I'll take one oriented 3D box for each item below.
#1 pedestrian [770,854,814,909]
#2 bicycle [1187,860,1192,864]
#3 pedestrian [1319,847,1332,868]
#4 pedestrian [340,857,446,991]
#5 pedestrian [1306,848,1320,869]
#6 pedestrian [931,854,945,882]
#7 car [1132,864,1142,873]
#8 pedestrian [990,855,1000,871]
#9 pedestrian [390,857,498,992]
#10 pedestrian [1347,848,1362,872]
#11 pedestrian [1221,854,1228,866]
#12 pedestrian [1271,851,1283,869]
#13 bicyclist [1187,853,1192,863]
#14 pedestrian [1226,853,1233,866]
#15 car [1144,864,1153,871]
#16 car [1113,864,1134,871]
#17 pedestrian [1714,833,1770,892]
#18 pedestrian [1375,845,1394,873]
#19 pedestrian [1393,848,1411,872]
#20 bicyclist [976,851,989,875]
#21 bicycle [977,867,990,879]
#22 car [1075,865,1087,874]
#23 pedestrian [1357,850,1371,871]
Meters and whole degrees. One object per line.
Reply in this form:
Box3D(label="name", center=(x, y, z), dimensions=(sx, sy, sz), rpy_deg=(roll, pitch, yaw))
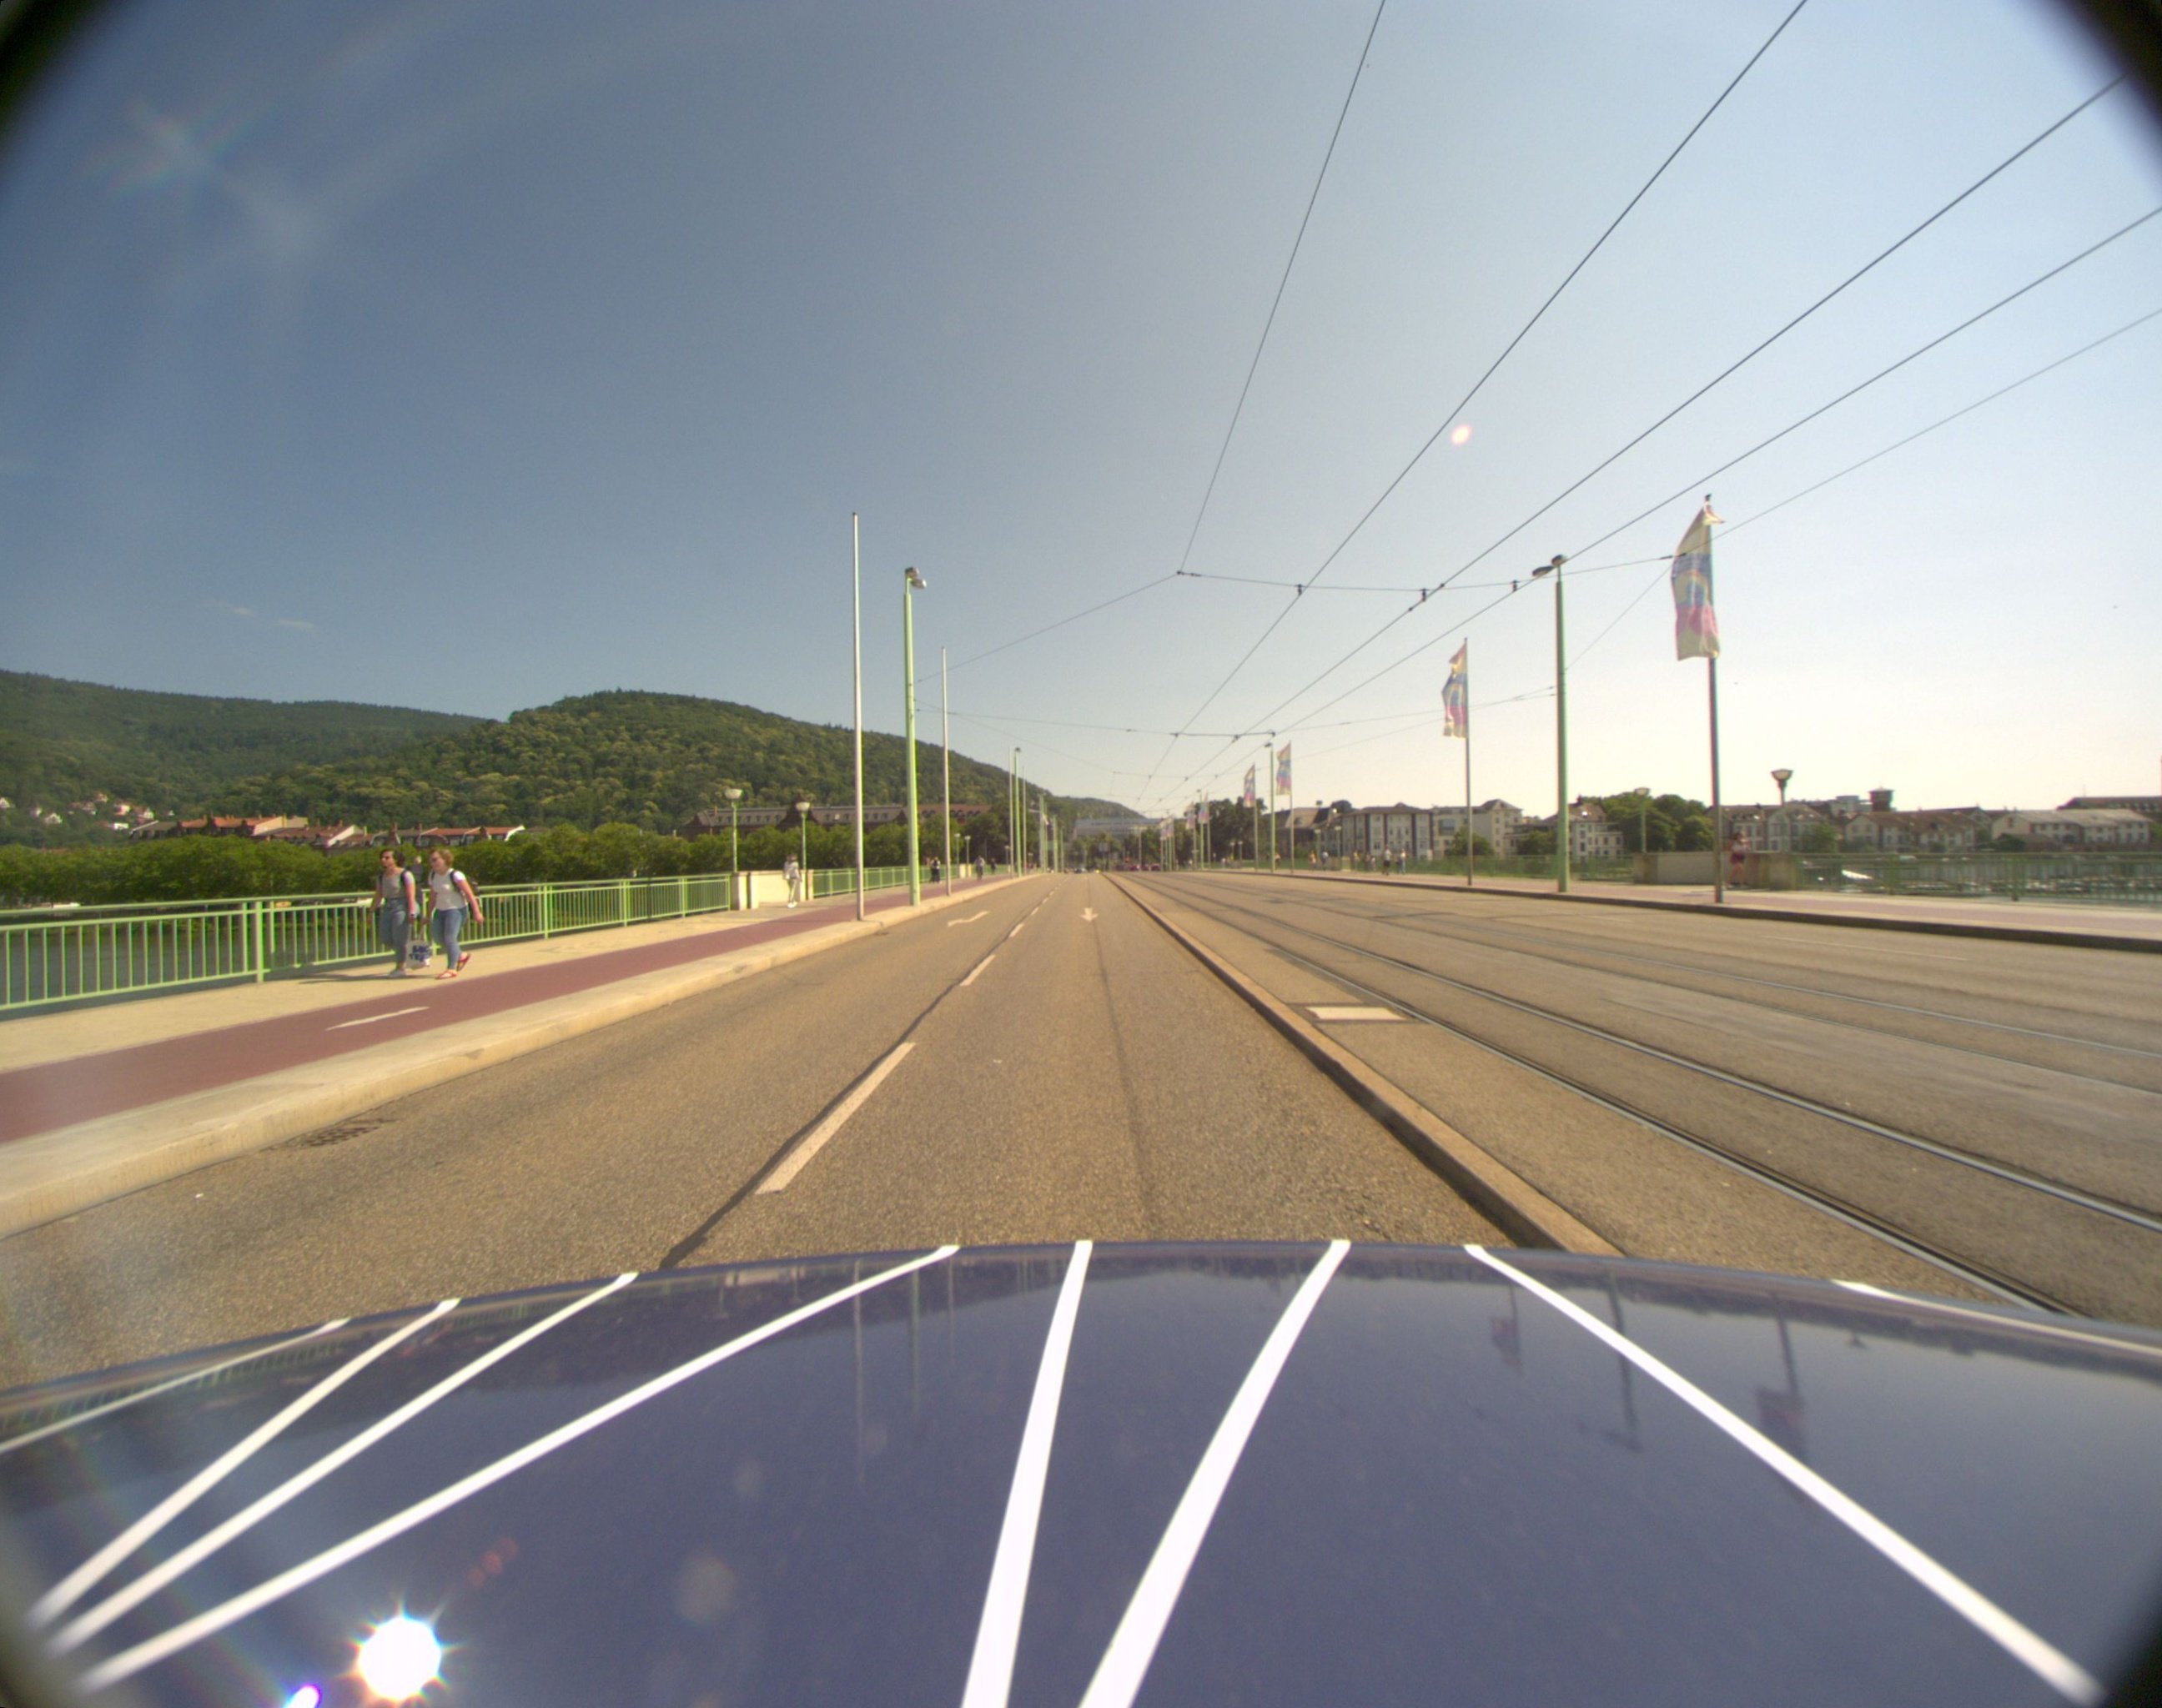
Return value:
Box3D(label="pedestrian", center=(-8.958, 0.842, 23.591), dimensions=(0.950, 1.653, 1.082), rpy_deg=(0, 1, 0))
Box3D(label="bicycle", center=(17.816, 1.304, 124.840), dimensions=(0.667, 0.712, 2.173), rpy_deg=(-1, 0, 1))
Box3D(label="pedestrian", center=(19.668, 0.285, 61.149), dimensions=(0.592, 1.690, 1.022), rpy_deg=(-3, 1, 0))
Box3D(label="pedestrian", center=(-8.800, 0.868, 9.750), dimensions=(0.669, 1.649, 0.746), rpy_deg=(0, 1, 0))
Box3D(label="pedestrian", center=(18.686, 0.351, 61.216), dimensions=(0.787, 1.690, 1.022), rpy_deg=(-4, 1, 0))
Box3D(label="pedestrian", center=(-8.702, 0.840, 46.126), dimensions=(0.664, 1.696, 0.859), rpy_deg=(0, 1, 0))
Box3D(label="car", center=(11.515, 3.020, 157.667), dimensions=(1.714, 1.686, 4.000), rpy_deg=(-5, 0, 1))
Box3D(label="pedestrian", center=(-9.110, 0.938, 80.673), dimensions=(0.950, 1.653, 1.082), rpy_deg=(1, 0, 0))
Box3D(label="pedestrian", center=(-8.087, 0.861, 9.681), dimensions=(0.664, 1.649, 0.825), rpy_deg=(0, 1, 0))
Box3D(label="pedestrian", center=(18.735, 0.377, 52.078), dimensions=(0.627, 1.590, 1.022), rpy_deg=(-3, 1, 0))
Box3D(label="pedestrian", center=(19.762, 0.802, 104.908), dimensions=(0.592, 1.690, 1.022), rpy_deg=(-6, 0, 0))
Box3D(label="pedestrian", center=(18.957, 0.534, 73.636), dimensions=(0.787, 1.690, 1.022), rpy_deg=(-4, 1, 0))
Box3D(label="bicyclist", center=(17.804, 0.708, 124.867), dimensions=(0.666, 1.641, 0.622), rpy_deg=(-1, 1, 1))
Box3D(label="pedestrian", center=(20.462, 0.729, 104.614), dimensions=(0.592, 1.690, 0.905), rpy_deg=(-6, 0, 0))
Box3D(label="car", center=(14.694, 2.899, 165.389), dimensions=(1.672, 1.428, 4.000), rpy_deg=(-1, 1, 1))
Box3D(label="car", center=(10.952, 3.530, 194.949), dimensions=(5.233, 1.588, 2.000), rpy_deg=(-3, 1, 1))
Box3D(label="pedestrian", center=(19.404, 0.246, 22.314), dimensions=(0.686, 1.680, 1.022), rpy_deg=(-3, 1, 0))
Box3D(label="pedestrian", center=(18.295, 0.300, 45.826), dimensions=(0.671, 1.690, 1.022), rpy_deg=(-3, 1, 0))
Box3D(label="pedestrian", center=(19.271, 0.346, 45.630), dimensions=(0.592, 1.406, 1.022), rpy_deg=(-3, 0, 0))
Box3D(label="bicyclist", center=(-6.795, 0.612, 52.523), dimensions=(0.731, 1.655, 0.844), rpy_deg=(0, 0, 1))
Box3D(label="bicycle", center=(-6.773, 1.308, 52.805), dimensions=(0.595, 0.761, 1.866), rpy_deg=(0, 0, 1))
Box3D(label="car", center=(0.016, 2.963, 146.515), dimensions=(1.998, 1.379, 4.000), rpy_deg=(-6, 0, 1))
Box3D(label="pedestrian", center=(19.371, 0.422, 52.011), dimensions=(0.547, 1.429, 0.789), rpy_deg=(-3, 1, 0))
